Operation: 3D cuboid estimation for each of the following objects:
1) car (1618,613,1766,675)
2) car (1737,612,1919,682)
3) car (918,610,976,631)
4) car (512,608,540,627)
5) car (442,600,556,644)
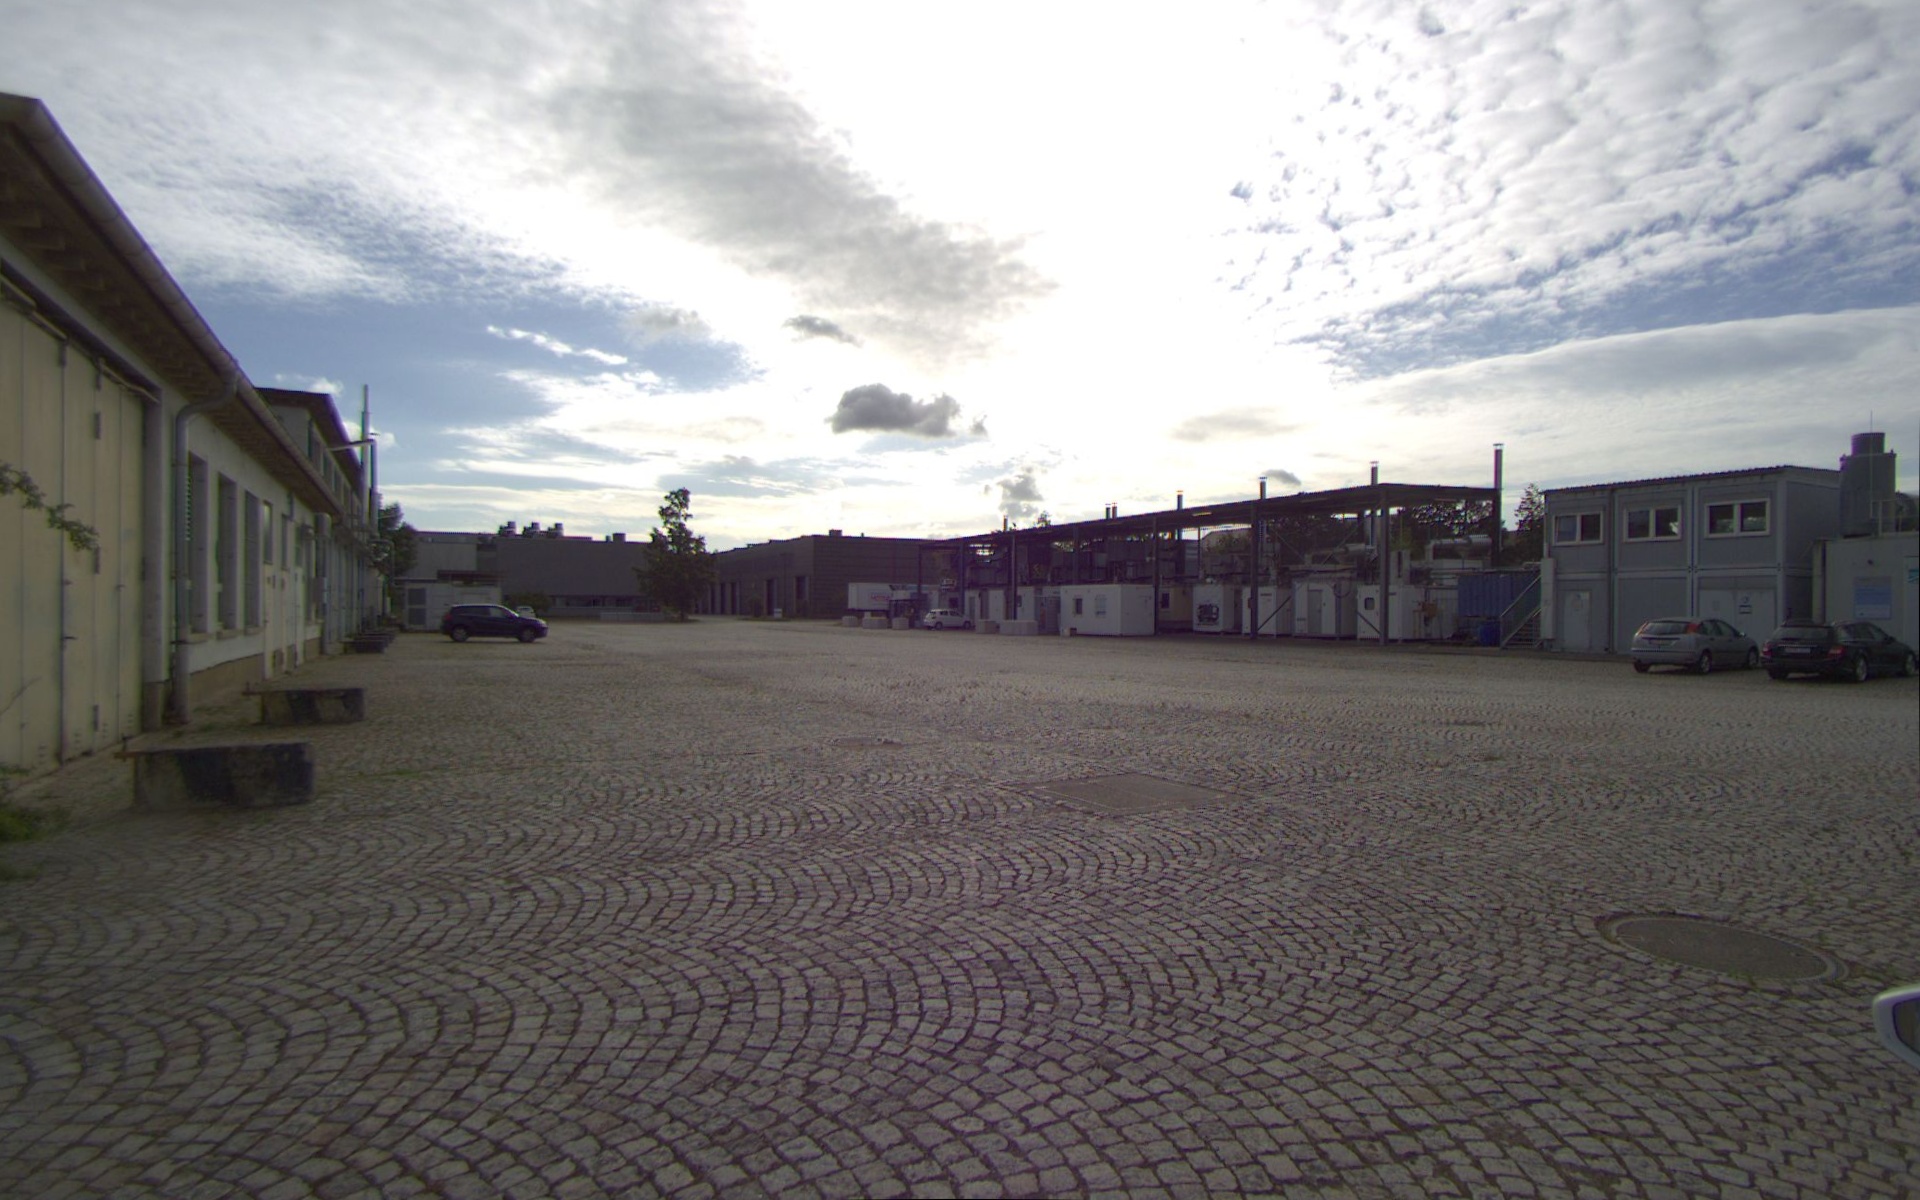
[{"bbox_3d":[20.184,1.157,27.684,3.999,1.495,1.897,-1,0,-31],"label":"car"},{"bbox_3d":[21.493,1.094,24.810,4.473,1.472,2.028,-1,0,-29],"label":"car"},{"bbox_3d":[-0.985,1.537,75.243,3.953,1.512,1.984,1,-1,-30],"label":"car"},{"bbox_3d":[-42.756,1.682,98.970,2.128,1.834,3.970,0,-1,-29],"label":"car"},{"bbox_3d":[-19.965,0.980,43.561,4.383,1.779,1.985,0,-3,-30],"label":"car"}]
